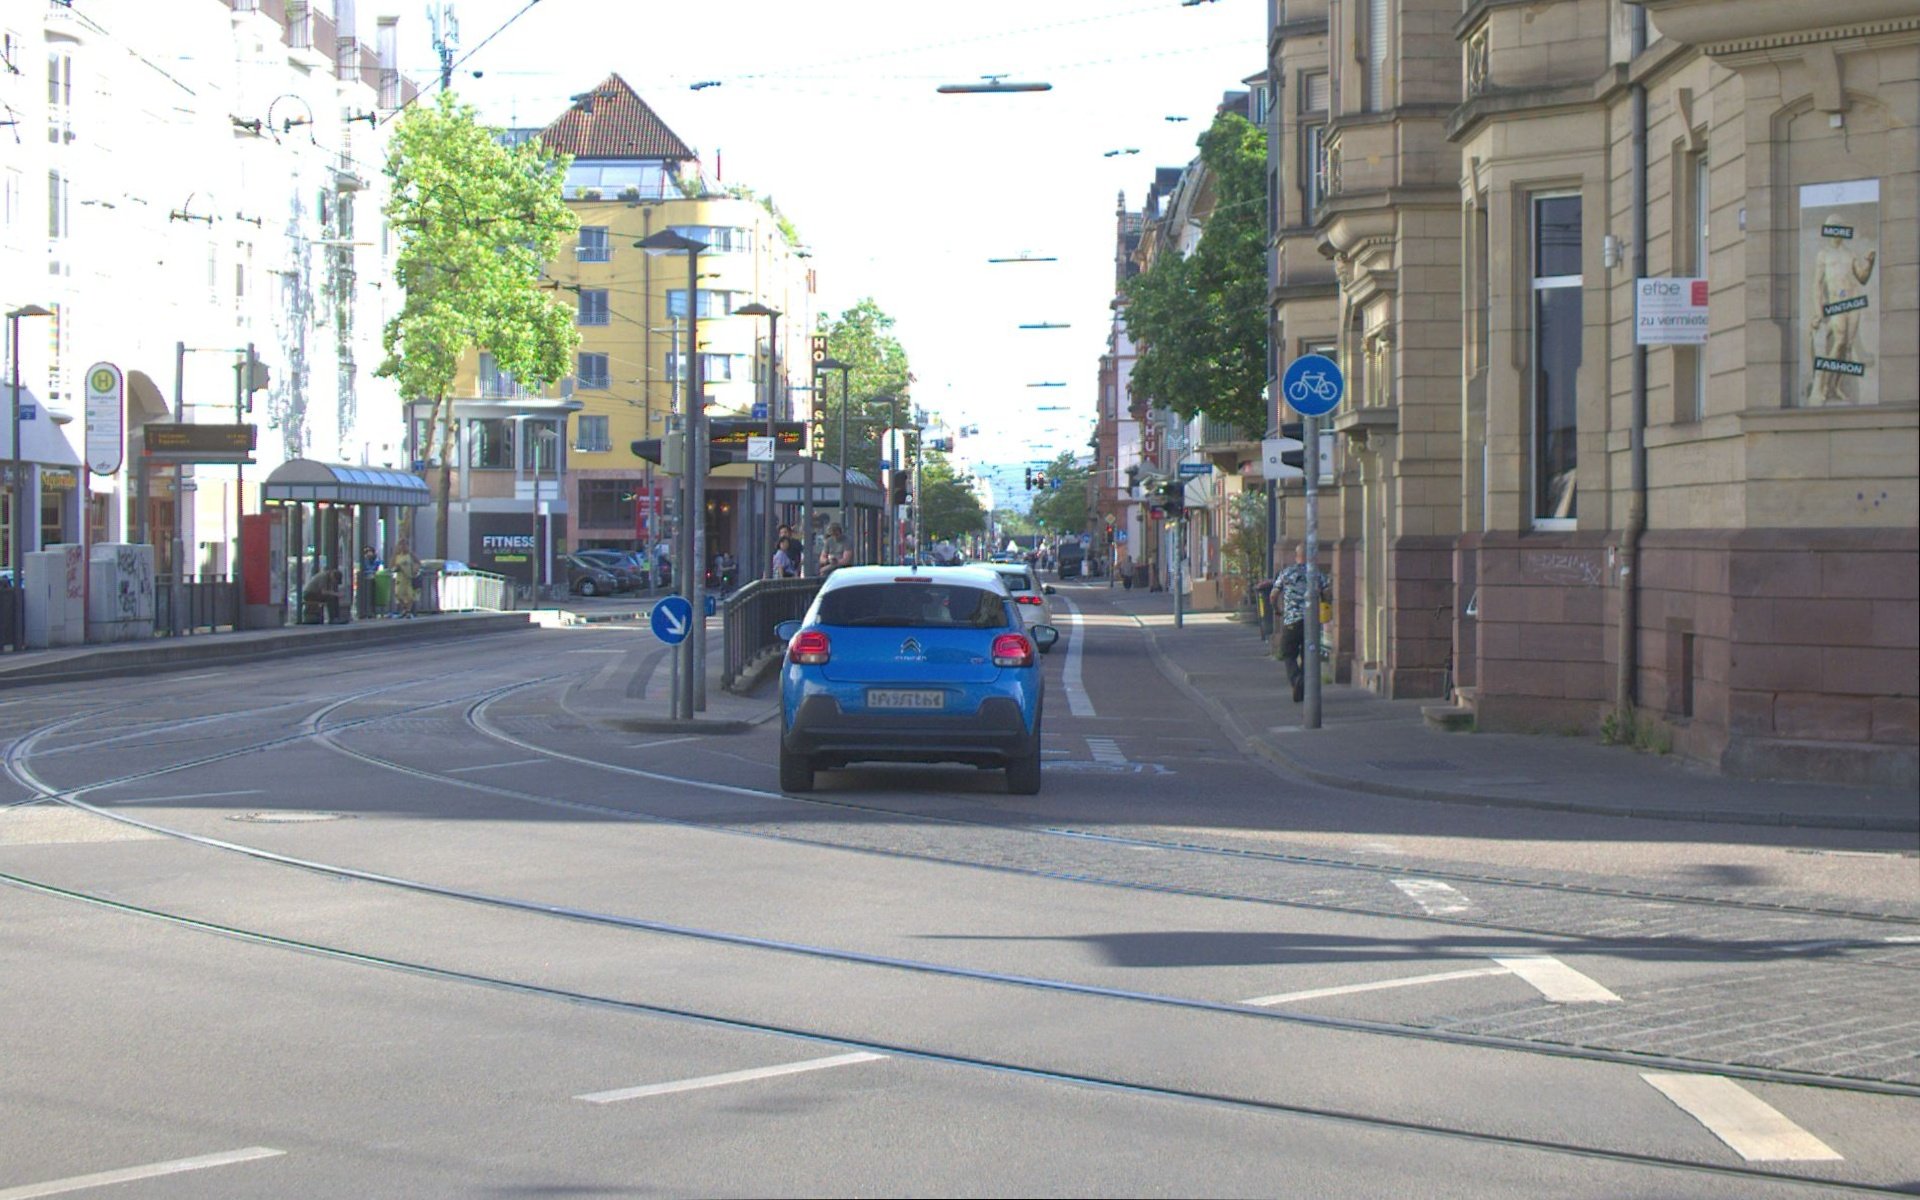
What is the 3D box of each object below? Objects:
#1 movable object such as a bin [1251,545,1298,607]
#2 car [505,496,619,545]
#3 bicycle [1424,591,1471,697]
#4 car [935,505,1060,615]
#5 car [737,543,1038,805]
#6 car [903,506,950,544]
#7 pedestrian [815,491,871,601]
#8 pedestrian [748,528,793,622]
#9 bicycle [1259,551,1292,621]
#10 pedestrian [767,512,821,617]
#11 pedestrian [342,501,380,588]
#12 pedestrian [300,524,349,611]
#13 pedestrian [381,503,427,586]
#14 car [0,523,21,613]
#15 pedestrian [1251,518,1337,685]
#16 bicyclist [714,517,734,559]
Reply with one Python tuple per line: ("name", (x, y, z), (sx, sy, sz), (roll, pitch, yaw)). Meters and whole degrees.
("movable object such as a bin", (5.581, -0.428, 61.053), (0.748, 1.032, 0.754), (-3, 2, 2))
("car", (-14.577, -2.918, 126.041), (3.986, 1.668, 1.958), (1, 3, -1))
("bicycle", (5.198, 0.454, 36.672), (0.255, 1.048, 1.769), (2, 2, 2))
("car", (0.680, -0.716, 58.817), (1.993, 1.736, 4.000), (2, 2, 2))
("car", (-0.412, 0.429, 23.234), (1.781, 1.445, 3.654), (2, 3, 2))
("car", (-1.592, -3.575, 163.380), (1.993, 1.736, 4.000), (2, 2, 2))
("pedestrian", (-1.844, -0.862, 54.271), (0.636, 1.692, 0.933), (3, 2, 9))
("pedestrian", (-3.223, -0.431, 58.495), (0.586, 1.556, 0.469), (3, 3, 38))
("bicycle", (5.416, -0.248, 59.039), (0.459, 1.119, 1.773), (0, 2, 2))
("pedestrian", (-2.861, -0.623, 59.278), (0.718, 1.771, 0.564), (3, 3, 38))
("pedestrian", (-14.144, -1.312, 81.219), (0.669, 2.006, 0.708), (2, 2, 3))
("pedestrian", (-11.469, -0.591, 62.070), (0.731, 1.522, 0.743), (1, 3, 1))
("pedestrian", (-10.712, -1.080, 66.260), (0.731, 1.553, 0.743), (1, 3, 1))
("car", (-17.238, -0.502, 57.633), (1.728, 1.509, 4.405), (1, 2, 1))
("pedestrian", (3.668, 0.005, 37.817), (0.780, 1.743, 1.093), (1, 4, -1))
("bicyclist", (-8.979, -2.361, 130.740), (0.672, 1.551, 0.778), (1, 3, 3))
